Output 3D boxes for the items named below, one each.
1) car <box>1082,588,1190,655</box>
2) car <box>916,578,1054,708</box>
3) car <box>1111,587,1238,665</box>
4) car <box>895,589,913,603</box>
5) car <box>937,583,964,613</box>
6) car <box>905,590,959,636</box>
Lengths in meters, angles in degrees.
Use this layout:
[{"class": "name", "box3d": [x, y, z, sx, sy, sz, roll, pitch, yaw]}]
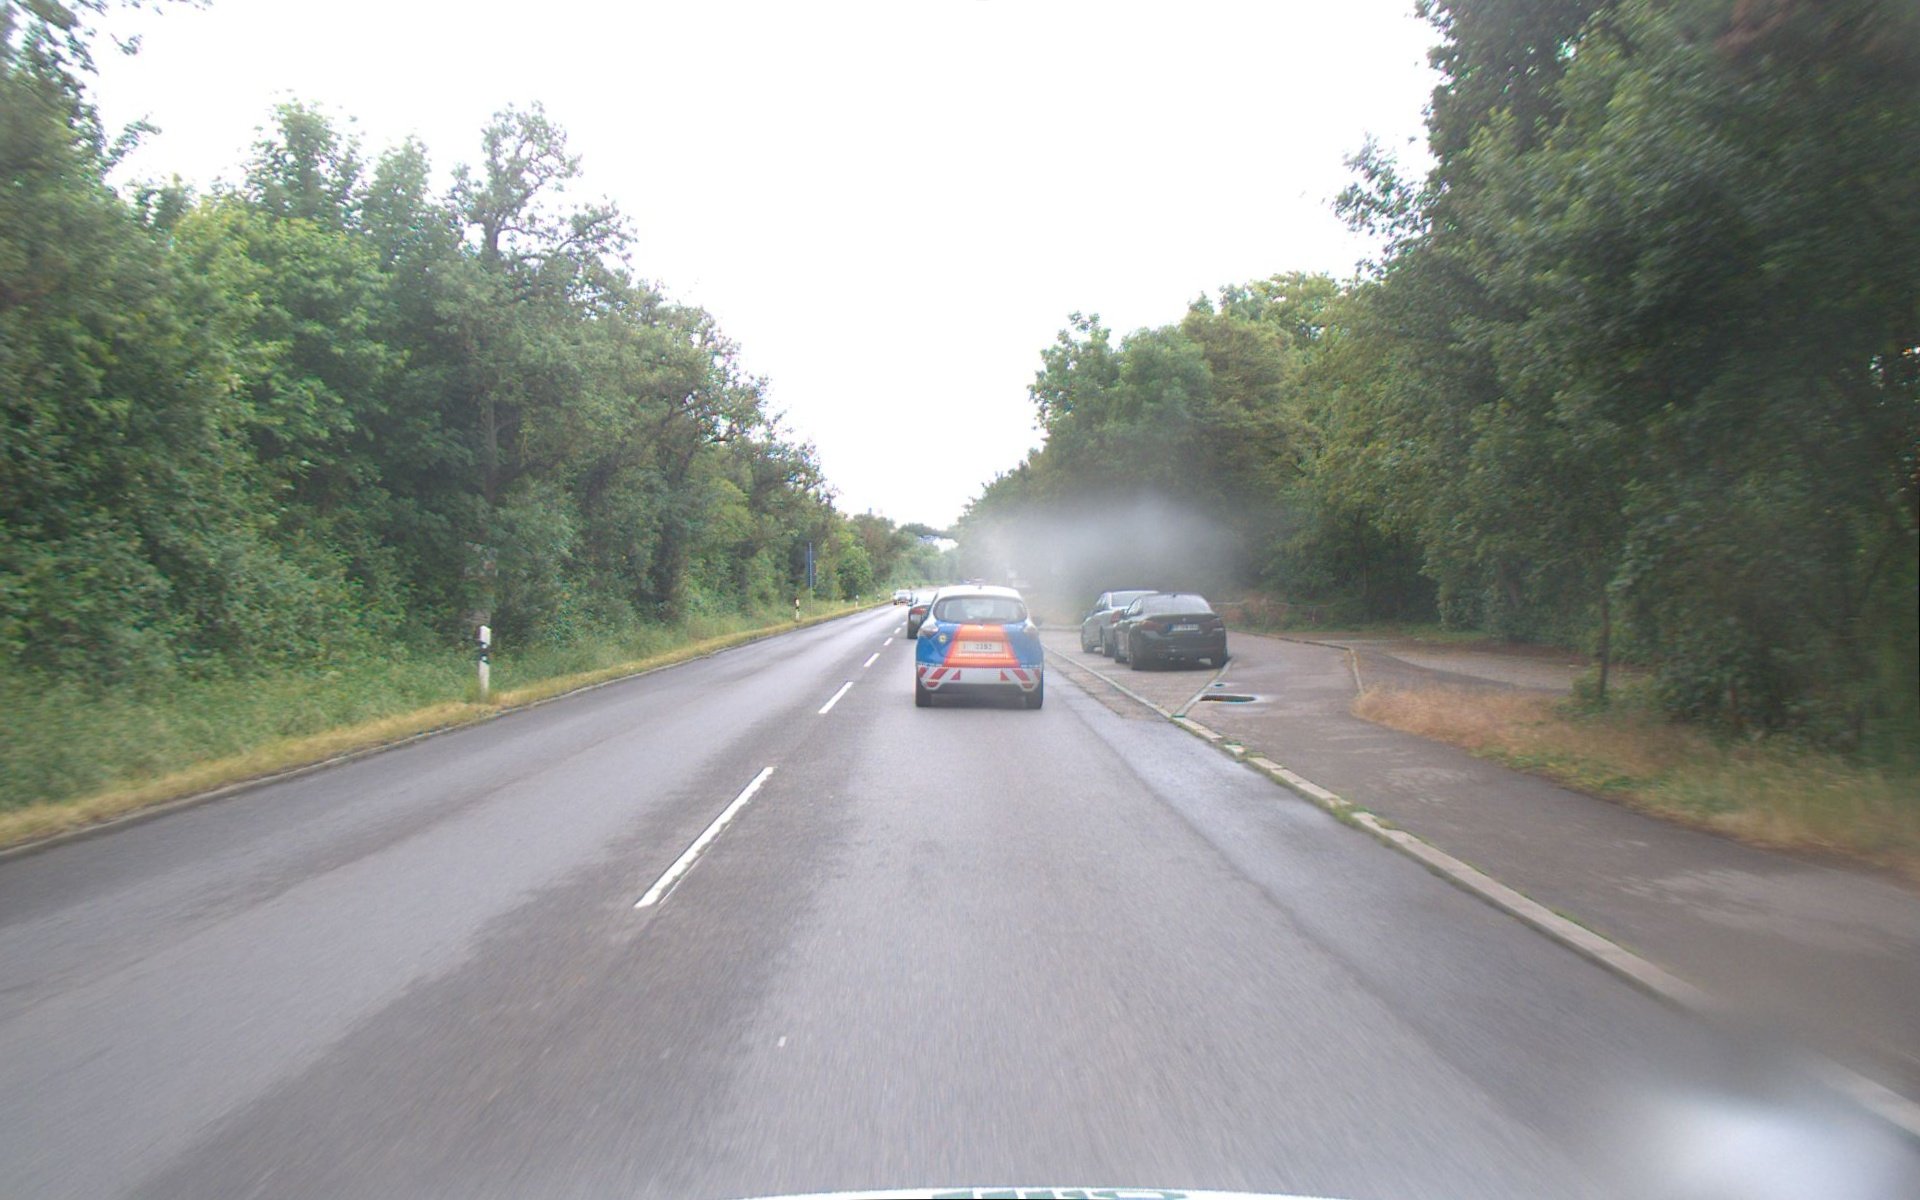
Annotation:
[{"class": "car", "box3d": [3.997, 0.455, 38.140, 1.953, 1.466, 4.066, 0, 0, -2]}, {"class": "car", "box3d": [0.286, 0.518, 22.706, 1.716, 1.582, 3.792, 1, 1, -1]}, {"class": "car", "box3d": [4.111, 0.461, 32.303, 1.953, 1.400, 4.000, -1, 0, 0]}, {"class": "car", "box3d": [-5.617, -0.378, 165.907, 1.846, 1.411, 3.998, 0, 0, -2]}, {"class": "car", "box3d": [-0.631, -0.147, 110.637, 1.708, 1.915, 3.999, 0, 0, -2]}, {"class": "car", "box3d": [-0.822, 0.369, 50.153, 1.566, 1.309, 3.476, -1, 0, 0]}]
